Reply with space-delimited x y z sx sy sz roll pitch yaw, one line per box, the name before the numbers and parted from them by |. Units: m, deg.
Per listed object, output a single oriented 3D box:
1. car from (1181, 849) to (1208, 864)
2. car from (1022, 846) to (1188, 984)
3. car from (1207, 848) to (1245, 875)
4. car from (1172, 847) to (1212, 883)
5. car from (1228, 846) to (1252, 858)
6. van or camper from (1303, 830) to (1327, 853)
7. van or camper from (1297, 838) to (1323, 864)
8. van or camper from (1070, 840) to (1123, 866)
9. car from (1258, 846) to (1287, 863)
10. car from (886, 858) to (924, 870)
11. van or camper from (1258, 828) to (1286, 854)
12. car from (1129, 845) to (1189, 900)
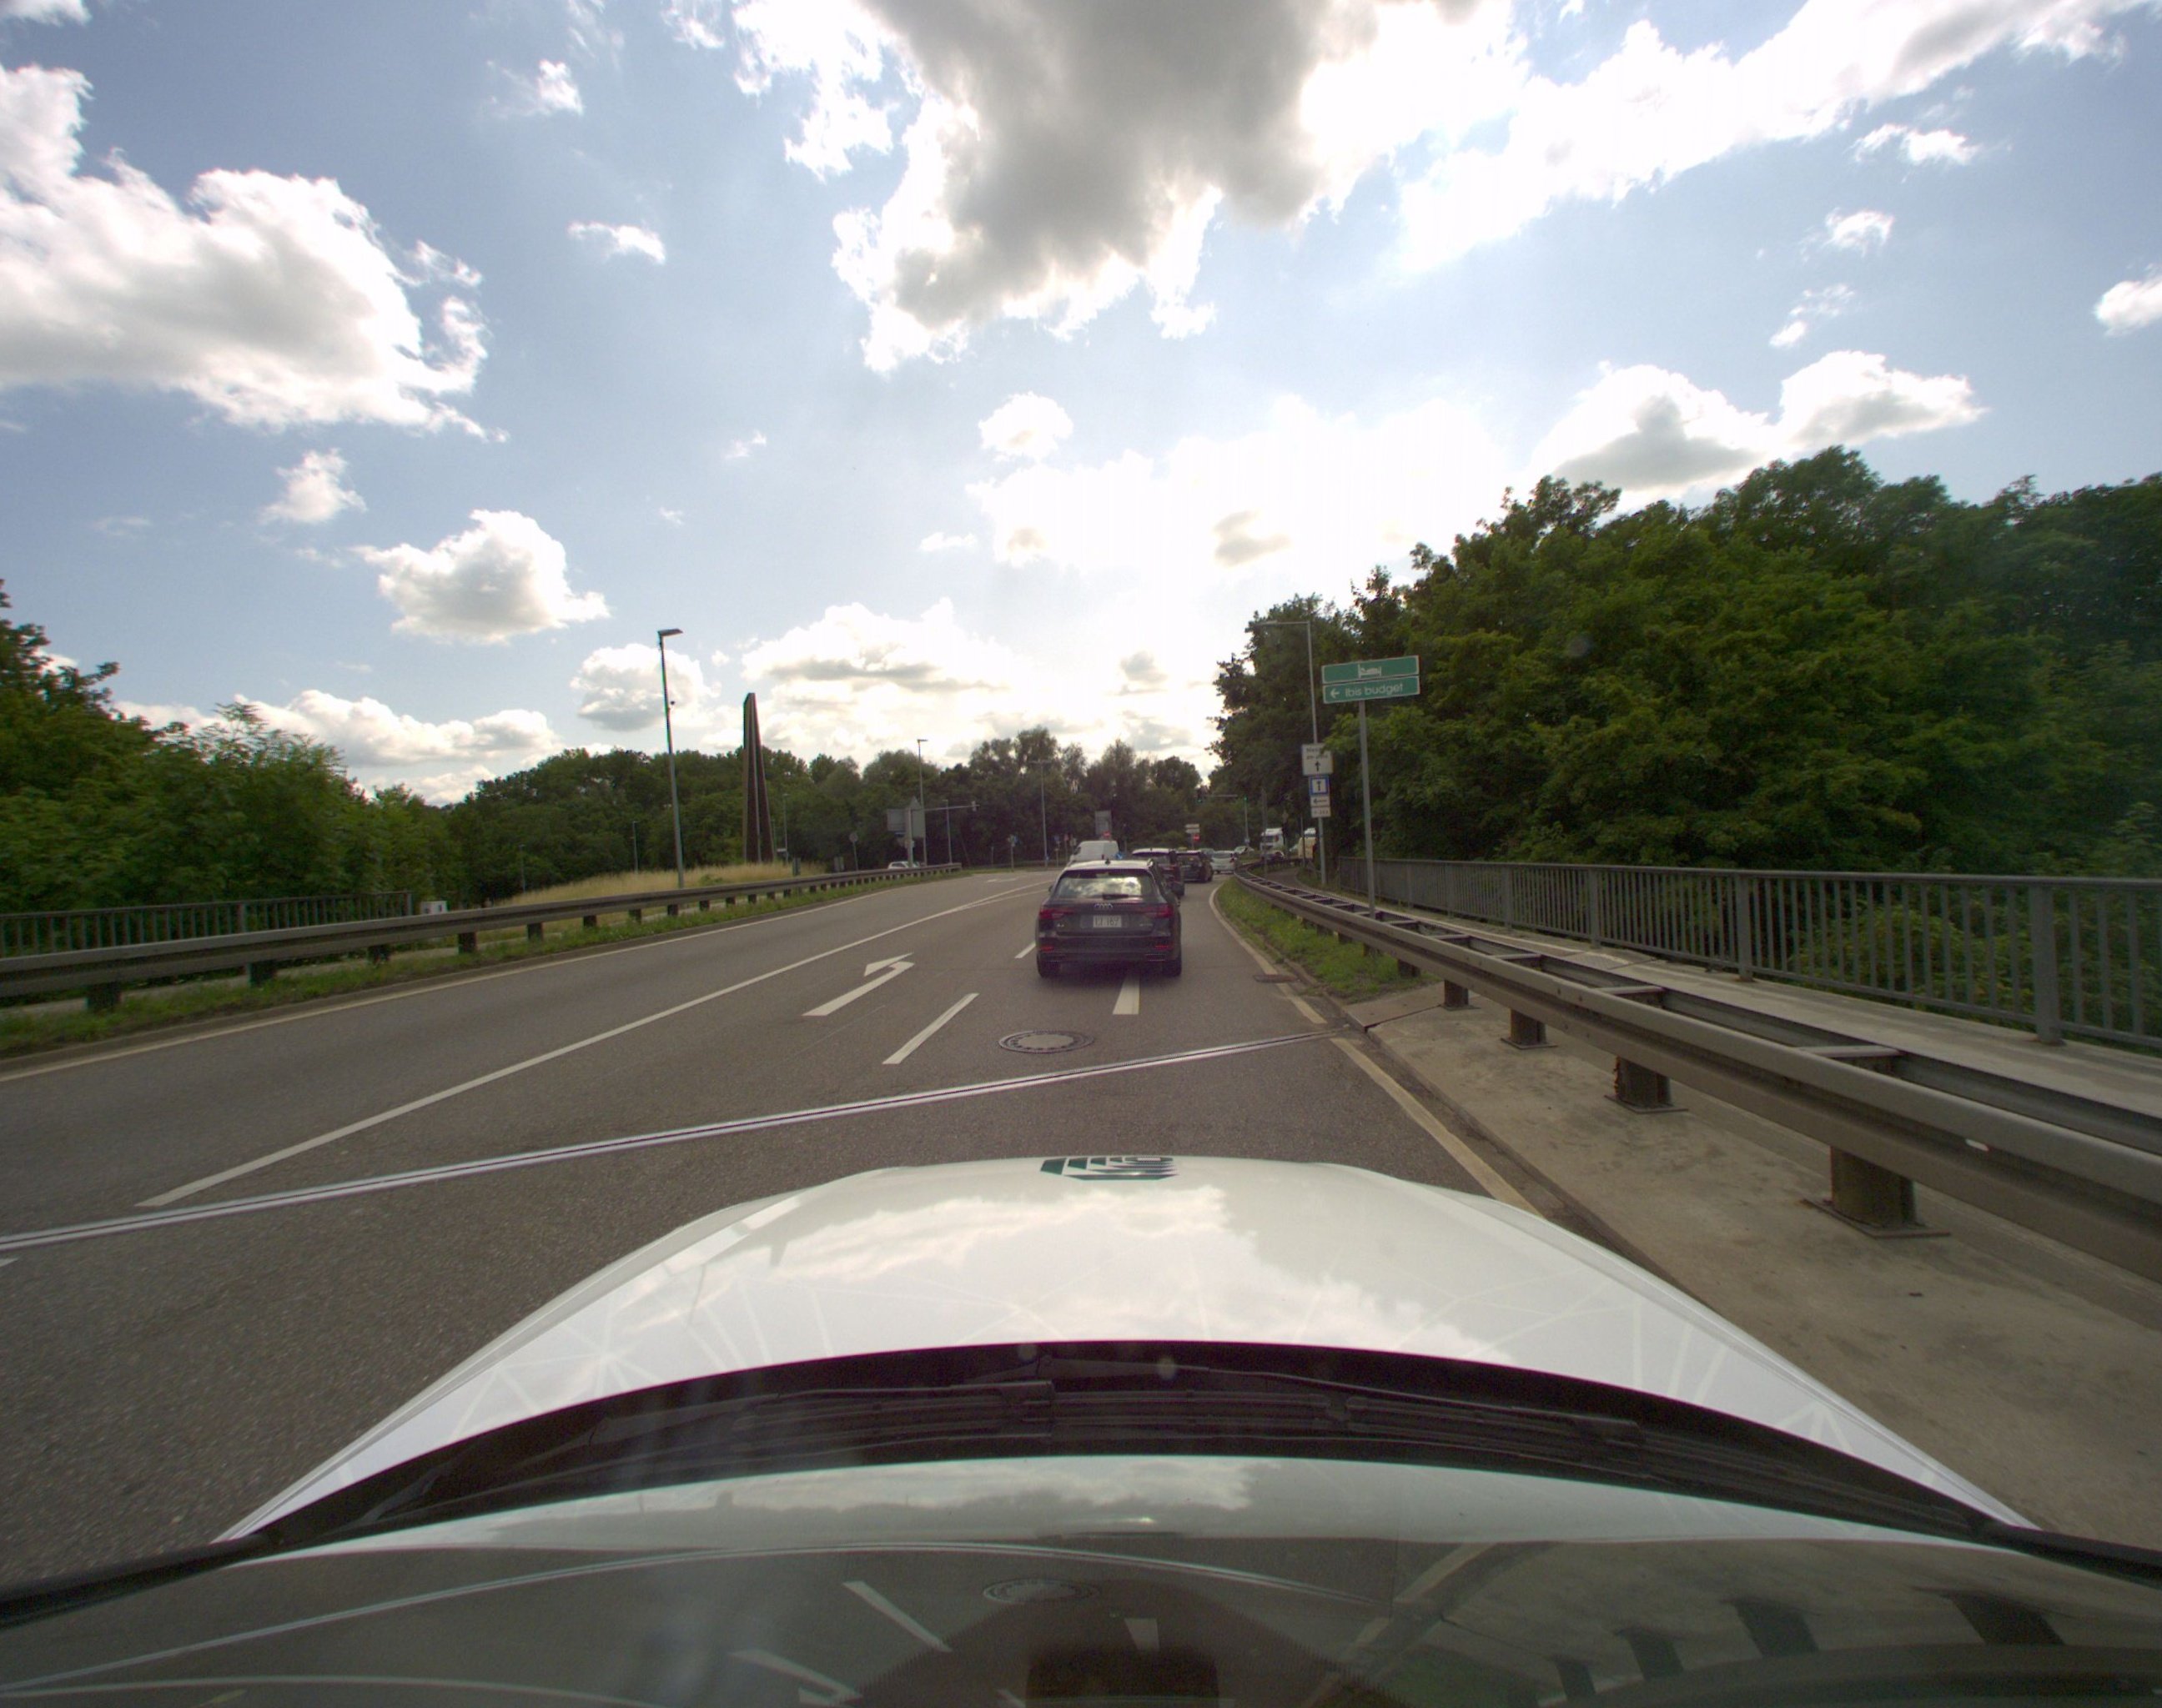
car | 13.630 0.317 97.656 1.759 1.717 4.024 -2 -1 28
car | 0.461 0.711 11.252 1.819 1.492 4.213 -2 -1 5
car | 9.477 0.472 53.082 1.719 1.651 3.875 -1 0 20
car | 5.460 0.490 39.803 1.723 1.651 3.867 -1 0 10
car | 20.987 -0.274 107.468 1.506 1.500 3.332 1 3 43
van or camper | 37.131 -2.033 128.920 2.879 3.615 8.057 0 1 21
van or camper | 23.484 -0.285 83.438 1.975 2.590 4.114 0 1 25
van or camper | 1.439 -0.079 76.234 2.290 2.340 5.183 -1 0 -36
car | 16.082 0.031 68.443 1.668 1.398 3.699 -2 0 24
car | -16.443 0.927 76.034 3.543 1.117 1.604 -1 0 37
van or camper | 27.690 -1.928 117.668 2.879 3.615 8.173 0 1 21
car | 2.557 0.554 26.810 1.812 1.651 3.862 -1 0 5
